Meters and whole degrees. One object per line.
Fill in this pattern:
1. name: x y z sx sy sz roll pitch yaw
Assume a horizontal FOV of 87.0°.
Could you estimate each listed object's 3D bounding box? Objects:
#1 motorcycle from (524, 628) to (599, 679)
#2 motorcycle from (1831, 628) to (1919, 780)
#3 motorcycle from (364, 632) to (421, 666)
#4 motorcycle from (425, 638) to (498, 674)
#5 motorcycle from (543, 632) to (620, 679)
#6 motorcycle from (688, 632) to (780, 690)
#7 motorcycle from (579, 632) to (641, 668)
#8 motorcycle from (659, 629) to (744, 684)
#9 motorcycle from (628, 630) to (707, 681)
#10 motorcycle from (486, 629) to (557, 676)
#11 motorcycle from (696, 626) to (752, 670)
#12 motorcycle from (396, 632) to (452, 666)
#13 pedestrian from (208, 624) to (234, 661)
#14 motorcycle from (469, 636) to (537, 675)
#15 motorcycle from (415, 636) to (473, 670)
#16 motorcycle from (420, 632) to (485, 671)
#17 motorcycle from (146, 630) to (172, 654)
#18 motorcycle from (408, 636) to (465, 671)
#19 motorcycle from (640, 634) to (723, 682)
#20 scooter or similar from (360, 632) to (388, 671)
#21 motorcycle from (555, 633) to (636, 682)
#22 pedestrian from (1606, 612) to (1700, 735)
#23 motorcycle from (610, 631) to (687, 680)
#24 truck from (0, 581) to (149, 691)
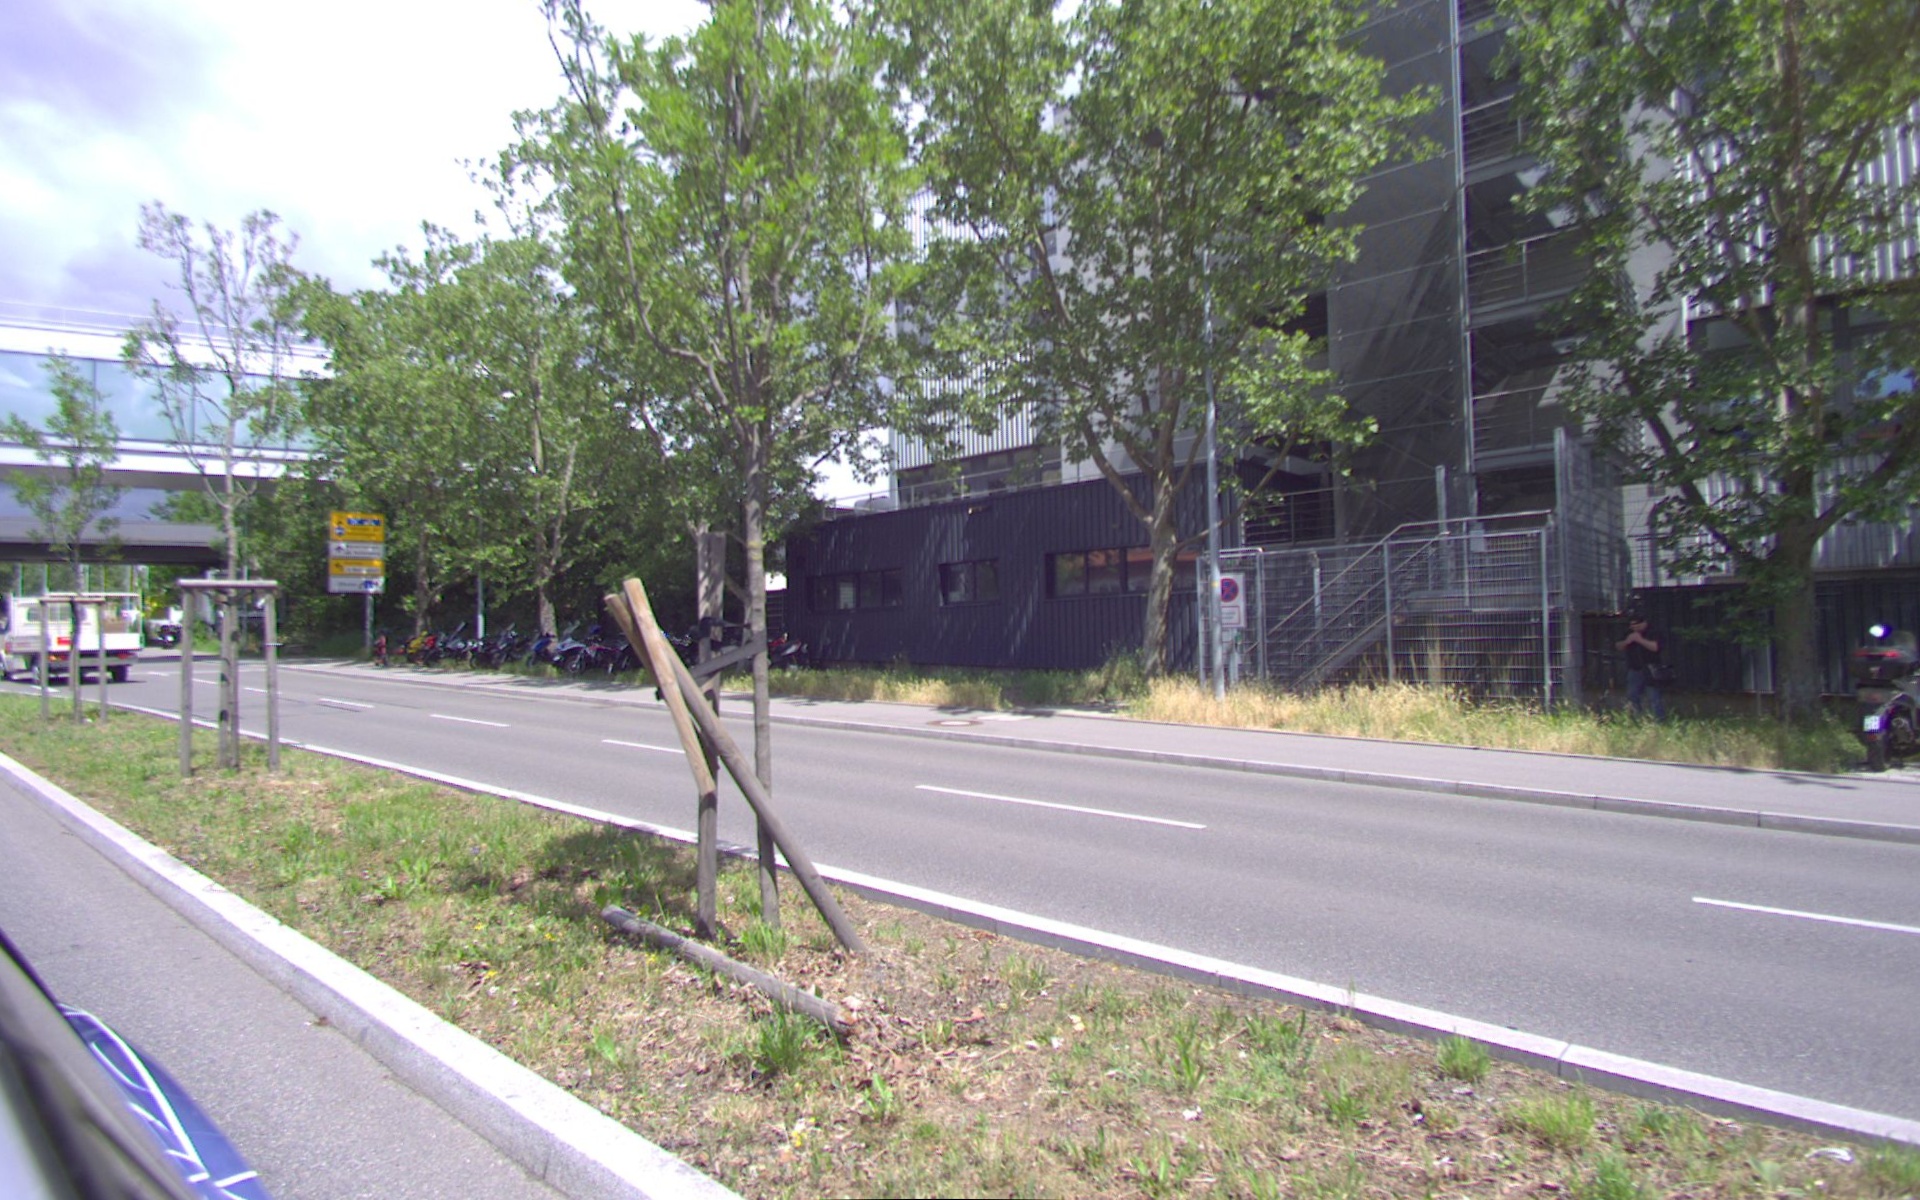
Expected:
1. motorcycle: -11.683 1.542 29.640 1.905 1.354 0.867 -2 -1 -28
2. motorcycle: 9.124 0.949 9.918 0.806 1.319 2.112 -2 -2 39
3. motorcycle: -21.261 1.827 37.913 1.720 1.180 0.777 -2 -1 -41
4. motorcycle: -16.184 1.826 32.930 0.918 1.124 1.918 0 -3 30
5. motorcycle: -10.730 1.556 28.710 1.853 1.188 0.817 -2 -1 -34
6. motorcycle: -5.128 1.374 23.016 1.854 1.182 0.746 -2 -1 -40
7. motorcycle: -12.001 1.703 34.682 1.904 1.124 0.924 -3 -1 -22
8. motorcycle: -6.310 1.360 24.736 1.855 1.195 0.731 -2 -1 -41
9. motorcycle: -7.664 1.438 26.561 0.655 1.219 1.856 -4 -1 45
10. motorcycle: -13.555 1.607 31.308 1.905 1.300 0.895 -2 -1 -28
11. motorcycle: -6.988 1.420 29.900 0.645 1.219 1.984 -2 -1 -44
12. motorcycle: -19.305 1.763 36.464 0.773 1.131 1.579 -3 -1 32
13. pedestrian: -33.845 1.937 46.371 0.813 1.624 0.760 -1 1 40
14. motorcycle: -14.515 1.750 32.203 1.904 1.124 0.924 -3 -1 -22
15. motorcycle: -17.647 1.809 34.624 0.776 1.041 1.574 -4 -1 42
16. motorcycle: -16.919 1.714 33.781 0.849 1.188 1.734 -3 -1 30
17. motorcycle: -43.076 2.236 54.412 2.256 1.207 0.633 -1 1 40
18. motorcycle: -18.453 1.872 35.707 0.776 1.131 1.574 -4 -1 42
19. motorcycle: -7.055 1.459 25.678 1.852 1.093 0.796 -2 -1 -34
20. scooter or similar: -19.761 1.723 34.113 1.479 1.245 0.350 0 0 41
21. motorcycle: -9.924 1.560 27.574 1.854 1.188 0.816 -2 -1 -40
22. pedestrian: 9.210 0.948 13.455 0.744 1.563 0.822 0 -2 -39
23. motorcycle: -8.380 1.492 27.267 0.698 1.188 1.856 -4 -1 45
24. truck: -25.391 1.011 28.661 6.451 2.772 2.455 -2 -2 39
